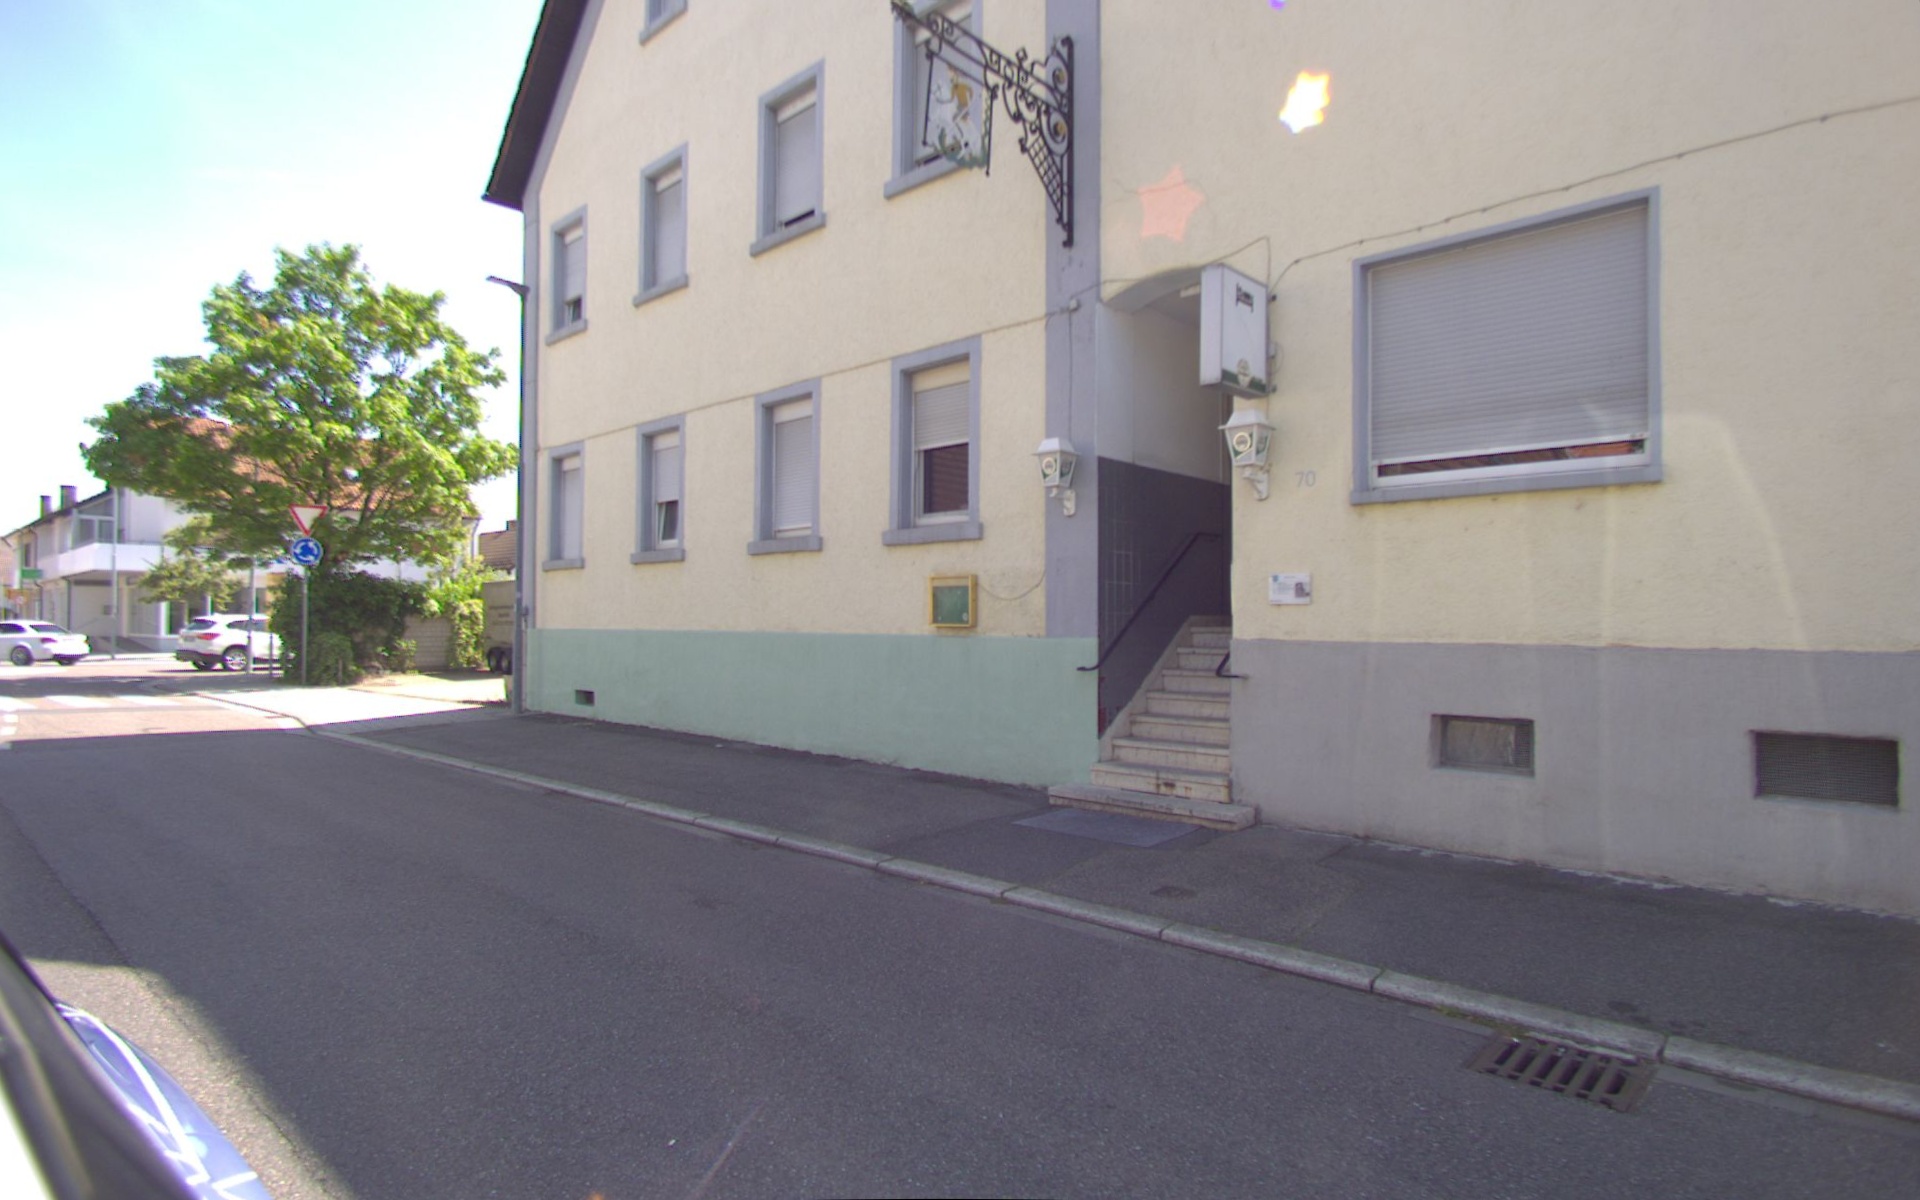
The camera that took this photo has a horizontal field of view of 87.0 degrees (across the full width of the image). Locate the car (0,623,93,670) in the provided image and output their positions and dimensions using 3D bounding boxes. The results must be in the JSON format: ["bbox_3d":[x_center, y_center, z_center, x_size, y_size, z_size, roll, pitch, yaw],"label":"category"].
[{"bbox_3d":[-30.149,1.463,32.001,4.108,1.404,1.599,-1,-1,-1],"label":"car"}]

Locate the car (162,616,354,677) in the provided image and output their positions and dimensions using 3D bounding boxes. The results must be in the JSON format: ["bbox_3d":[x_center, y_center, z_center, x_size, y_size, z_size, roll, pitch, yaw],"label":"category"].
[{"bbox_3d":[-20.710,1.321,30.085,1.798,1.631,4.408,-1,-1,26],"label":"car"}]

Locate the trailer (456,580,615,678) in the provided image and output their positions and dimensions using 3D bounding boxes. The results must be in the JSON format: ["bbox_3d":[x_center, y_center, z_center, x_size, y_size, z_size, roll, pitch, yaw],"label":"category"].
[{"bbox_3d":[-10.954,0.719,25.988,4.224,2.297,2.151,-1,-1,41],"label":"trailer"}]
